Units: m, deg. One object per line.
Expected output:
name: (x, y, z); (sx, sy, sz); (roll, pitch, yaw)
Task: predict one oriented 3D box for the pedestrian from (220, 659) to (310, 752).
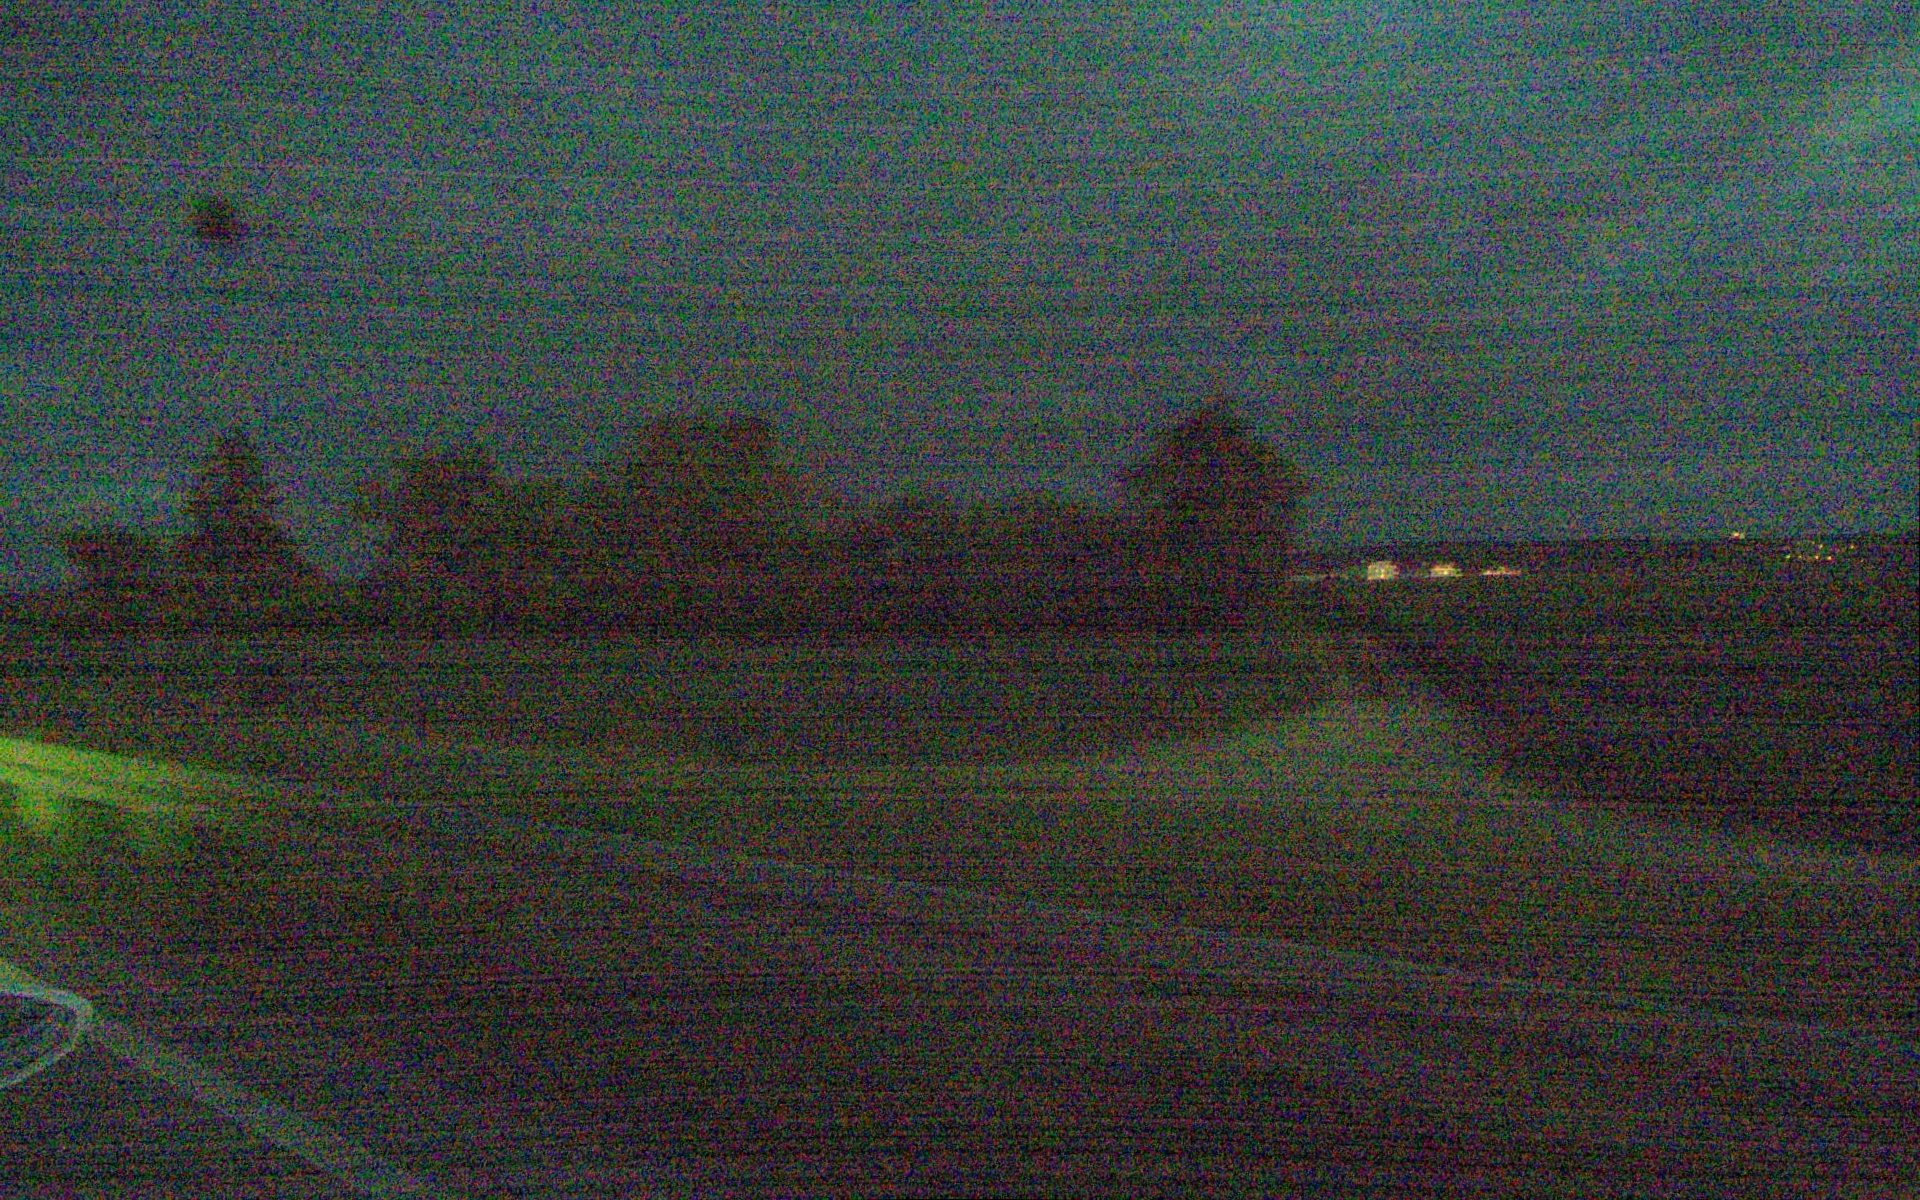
pedestrian: (-13.291, 1.982, 19.155); (1.102, 1.664, 1.060); (-1, -1, 32)
